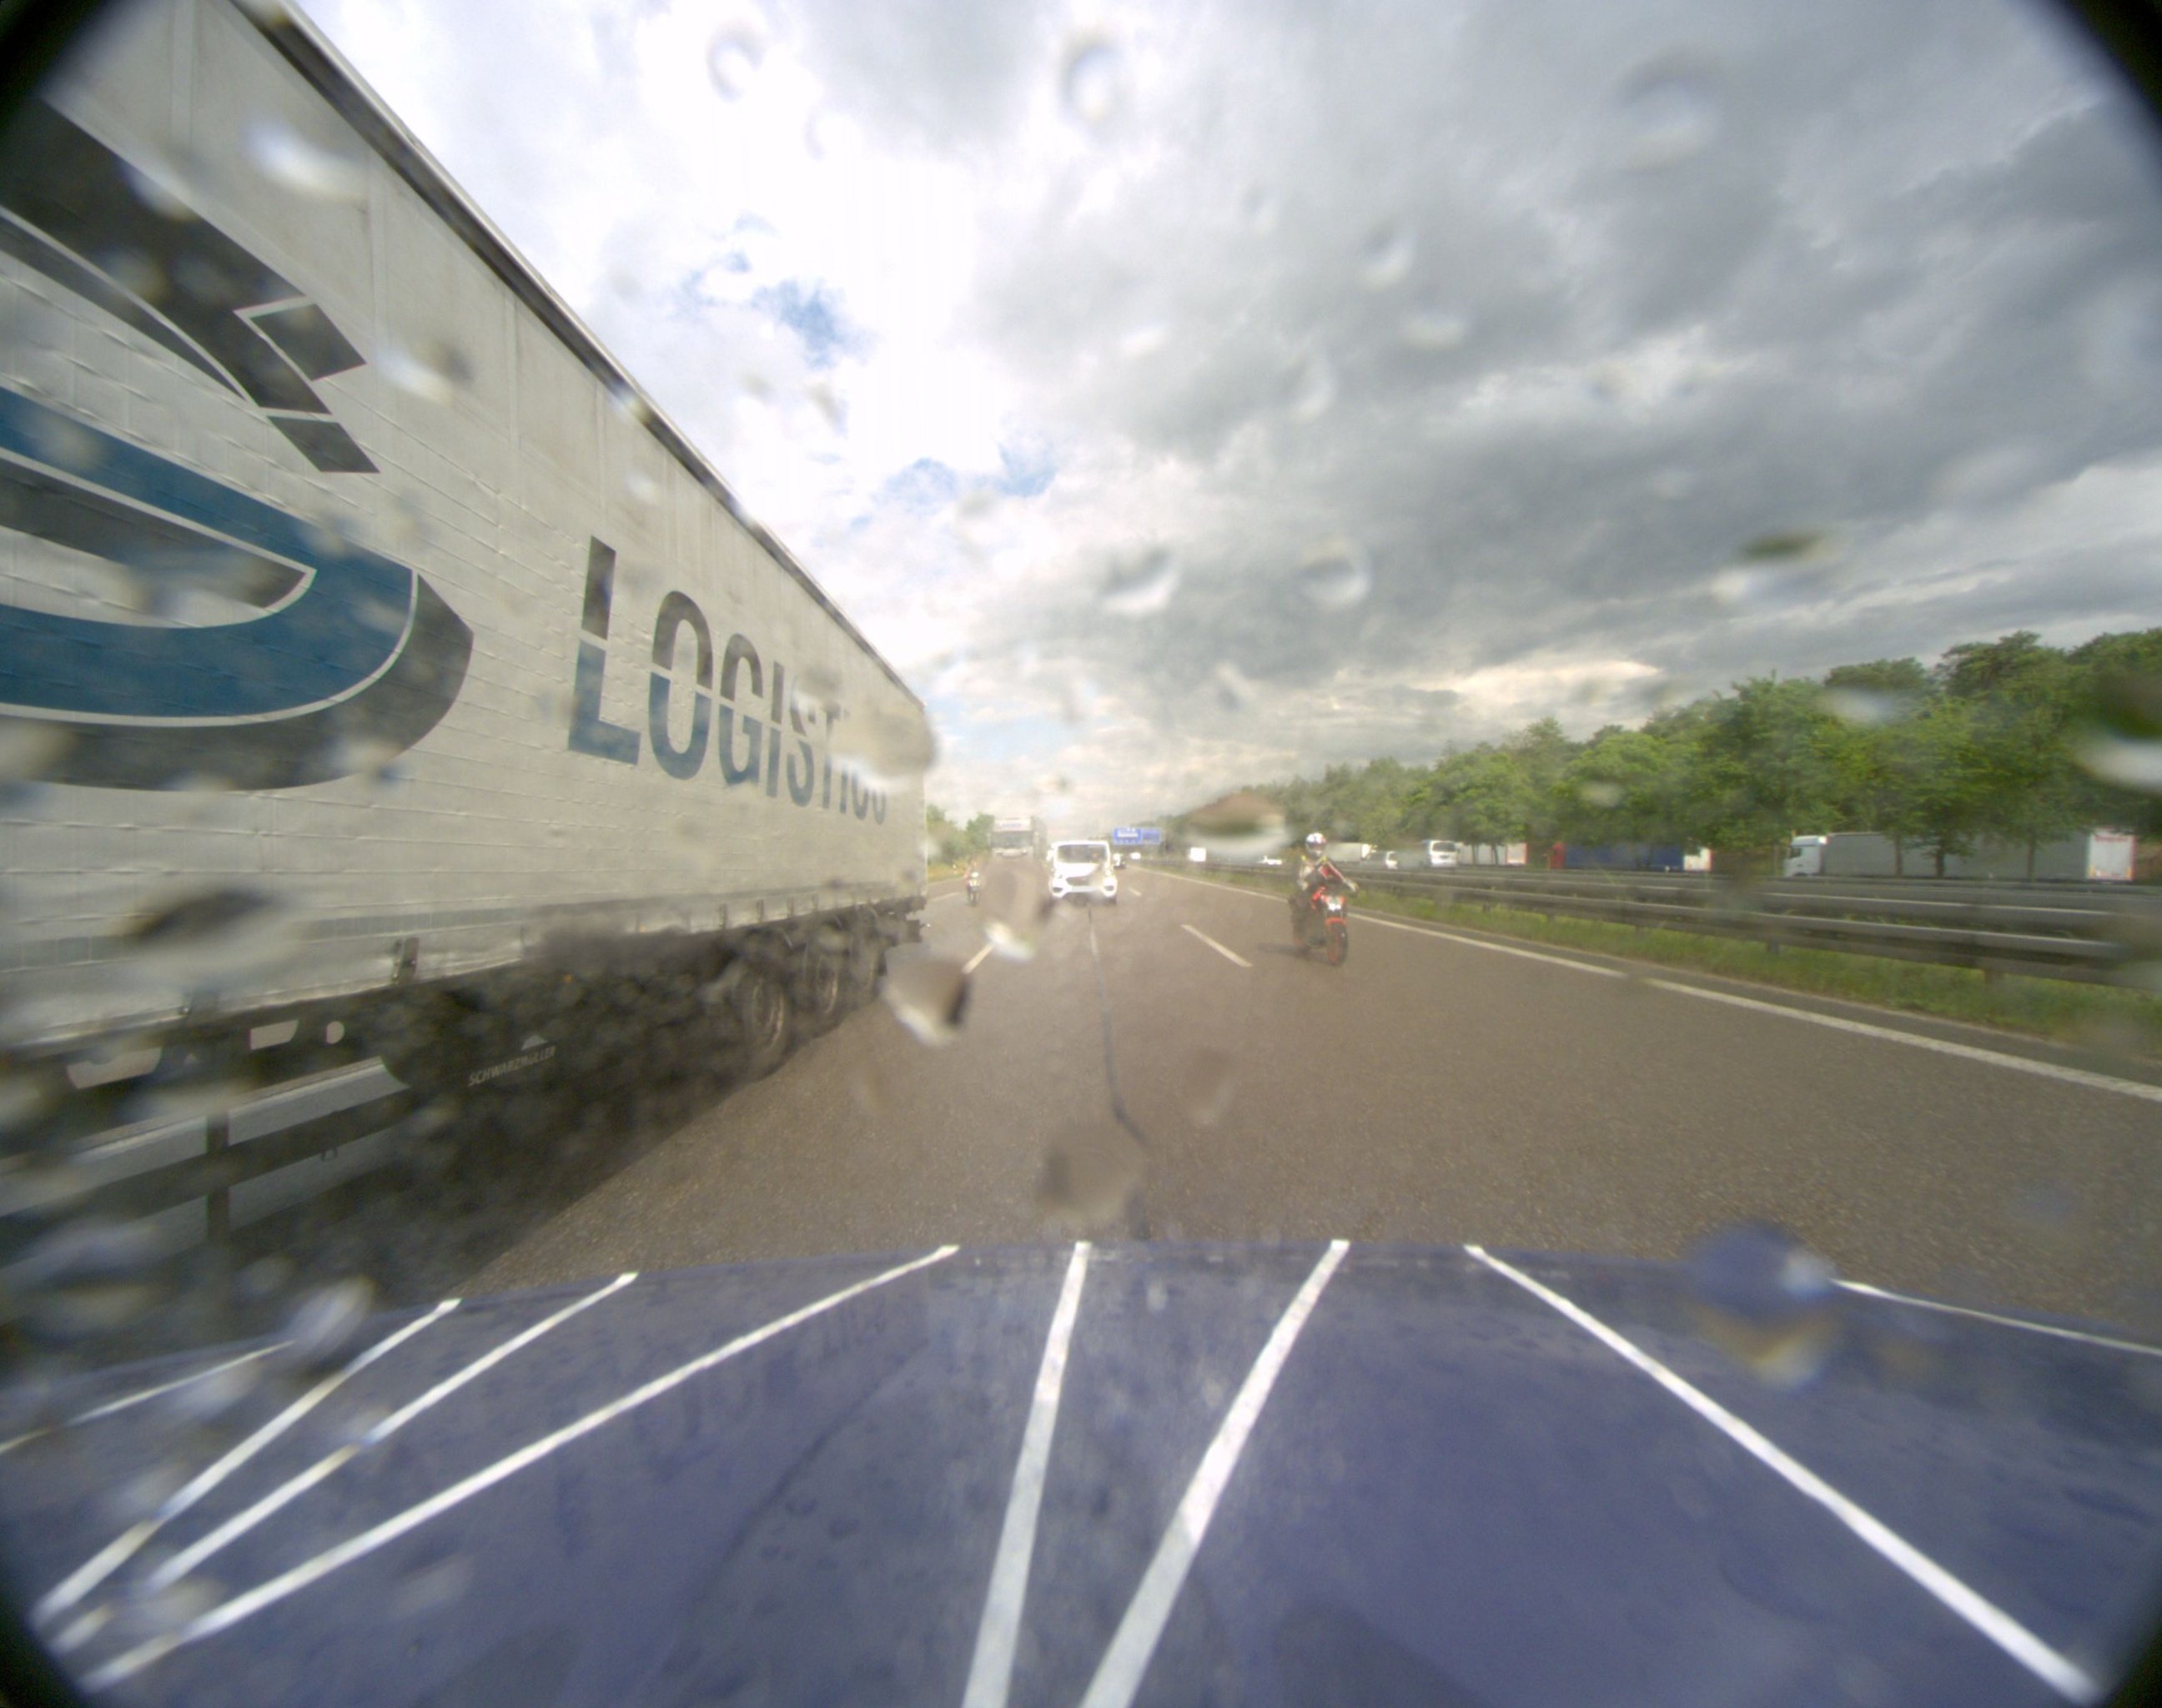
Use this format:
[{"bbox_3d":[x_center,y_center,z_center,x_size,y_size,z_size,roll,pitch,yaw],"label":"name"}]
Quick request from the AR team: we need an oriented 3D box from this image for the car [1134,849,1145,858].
[{"bbox_3d":[13.062,-0.177,170.352,2.052,1.880,5.258,-2,1,0],"label":"car"}]

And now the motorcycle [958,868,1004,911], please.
[{"bbox_3d":[-3.153,1.096,24.448,1.188,1.142,3.193,-2,1,-3],"label":"motorcycle"}]

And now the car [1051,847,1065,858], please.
[{"bbox_3d":[-4.285,-0.293,139.669,2.350,2.033,5.142,-2,1,0],"label":"car"}]

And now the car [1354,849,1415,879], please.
[{"bbox_3d":[20.942,0.646,52.668,2.052,1.880,5.258,-2,1,0],"label":"car"}]

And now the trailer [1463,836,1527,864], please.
[{"bbox_3d":[49.711,-0.503,91.509,2.588,3.214,7.734,-1,1,-10],"label":"trailer"}]

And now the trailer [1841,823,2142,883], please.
[{"bbox_3d":[55.174,-0.099,47.061,3.356,3.198,12.471,-1,0,-2],"label":"trailer"}]

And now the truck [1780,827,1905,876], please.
[{"bbox_3d":[54.849,-0.196,54.910,3.362,3.254,5.505,-2,1,-4],"label":"truck"}]

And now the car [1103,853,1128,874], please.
[{"bbox_3d":[3.542,0.973,79.051,2.350,2.033,5.142,-2,1,0],"label":"car"}]

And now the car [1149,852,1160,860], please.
[{"bbox_3d":[18.239,0.409,188.357,2.306,1.880,4.778,-2,1,0],"label":"car"}]

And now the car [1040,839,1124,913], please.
[{"bbox_3d":[0.028,0.602,24.434,2.350,2.033,5.142,-2,1,0],"label":"car"}]

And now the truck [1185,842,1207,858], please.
[{"bbox_3d":[20.678,-0.757,136.818,2.849,2.666,7.190,-2,1,1],"label":"truck"}]

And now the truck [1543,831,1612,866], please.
[{"bbox_3d":[51.729,-0.572,79.347,2.869,3.436,5.892,-2,1,-7],"label":"truck"}]

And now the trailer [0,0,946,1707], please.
[{"bbox_3d":[-3.642,-0.222,4.107,3.292,3.876,14.126,-2,0,-1],"label":"trailer"}]

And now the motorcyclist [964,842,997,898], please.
[{"bbox_3d":[-3.190,0.498,24.157,0.883,1.696,1.000,-2,1,-2],"label":"motorcyclist"}]

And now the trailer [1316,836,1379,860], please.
[{"bbox_3d":[42.677,-0.907,122.276,3.216,3.717,12.553,-1,0,-14],"label":"trailer"}]

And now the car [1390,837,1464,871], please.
[{"bbox_3d":[21.109,-0.039,46.637,2.052,1.880,5.258,-2,1,0],"label":"car"}]

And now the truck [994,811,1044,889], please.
[{"bbox_3d":[-3.666,-0.263,46.093,2.650,4.250,6.882,-2,1,-3],"label":"truck"}]

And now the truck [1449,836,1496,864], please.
[{"bbox_3d":[48.969,-0.513,95.245,2.663,3.249,5.081,-2,1,-10],"label":"truck"}]

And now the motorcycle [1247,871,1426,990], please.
[{"bbox_3d":[3.300,0.916,10.347,1.188,1.219,3.193,-2,1,-3],"label":"motorcycle"}]

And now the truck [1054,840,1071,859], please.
[{"bbox_3d":[-3.873,-0.979,160.455,3.218,3.607,10.152,-2,1,0],"label":"truck"}]

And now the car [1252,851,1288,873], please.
[{"bbox_3d":[17.833,0.758,72.077,2.052,1.880,5.258,-2,1,0],"label":"car"}]

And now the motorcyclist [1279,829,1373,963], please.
[{"bbox_3d":[3.292,0.532,10.295,0.883,1.696,1.000,-2,1,-2],"label":"motorcyclist"}]

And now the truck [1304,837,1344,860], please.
[{"bbox_3d":[41.040,-0.948,128.650,3.219,3.683,6.907,-2,1,-14],"label":"truck"}]

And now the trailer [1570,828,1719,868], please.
[{"bbox_3d":[52.641,-0.551,71.826,2.832,3.385,13.417,-1,0,-7],"label":"trailer"}]
